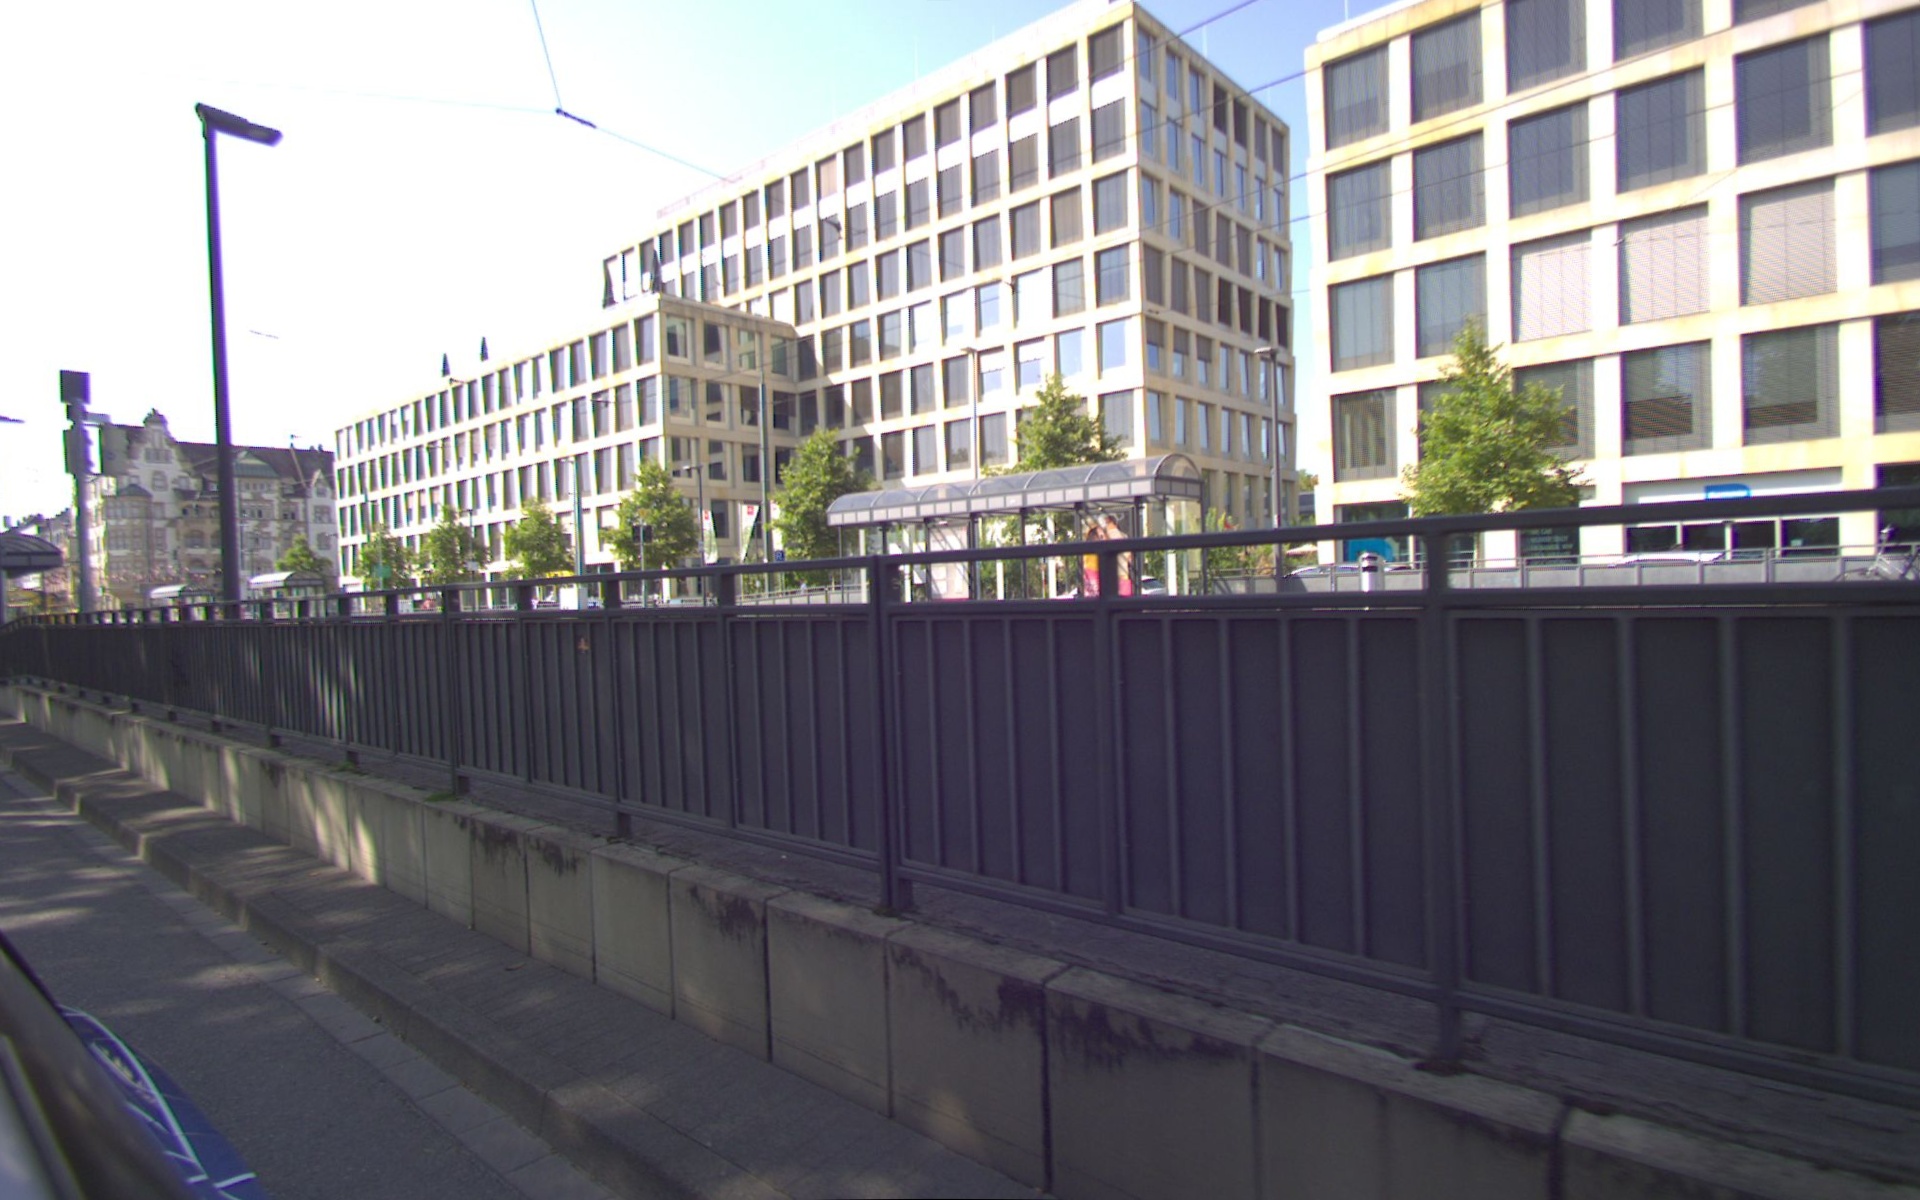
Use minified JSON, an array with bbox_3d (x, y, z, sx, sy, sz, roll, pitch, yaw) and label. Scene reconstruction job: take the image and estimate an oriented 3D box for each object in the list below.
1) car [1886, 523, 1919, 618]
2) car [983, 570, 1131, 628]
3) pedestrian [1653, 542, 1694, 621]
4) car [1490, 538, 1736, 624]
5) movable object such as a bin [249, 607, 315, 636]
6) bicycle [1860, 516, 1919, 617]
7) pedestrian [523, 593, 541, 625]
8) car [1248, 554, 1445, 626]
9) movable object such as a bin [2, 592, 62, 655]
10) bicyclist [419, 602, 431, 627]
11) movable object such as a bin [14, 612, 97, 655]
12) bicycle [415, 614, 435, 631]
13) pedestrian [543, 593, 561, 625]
[{"bbox_3d":[18.300,-0.570,16.831,4.128,1.615,1.746,-2,-1,40],"label":"car"},{"bbox_3d":[2.843,-0.005,30.200,4.128,1.586,1.746,-2,-1,40],"label":"car"},{"bbox_3d":[18.575,-0.469,26.341,0.822,2.029,0.557,-1,-2,41],"label":"pedestrian"},{"bbox_3d":[13.577,-0.338,21.171,4.128,1.586,1.746,-2,-1,40],"label":"car"},{"bbox_3d":[-73.477,2.337,109.694,2.490,2.810,5.445,-1,2,41],"label":"movable object such as a bin"},{"bbox_3d":[11.354,-0.396,11.579,0.465,1.156,1.487,-3,1,-34],"label":"bicycle"},{"bbox_3d":[-27.541,0.579,65.101,0.822,2.029,0.758,-2,1,45],"label":"pedestrian"},{"bbox_3d":[9.375,-0.203,24.728,4.128,1.586,1.746,-2,-1,40],"label":"car"},{"bbox_3d":[-70.992,1.840,77.395,4.212,4.588,2.955,-3,0,43],"label":"movable object such as a bin"},{"bbox_3d":[-28.819,0.779,54.555,0.447,1.371,0.383,-2,0,41],"label":"bicyclist"},{"bbox_3d":[-75.703,2.788,84.713,3.548,3.247,4.090,-3,0,25],"label":"movable object such as a bin"},{"bbox_3d":[-28.862,1.214,54.609,1.576,0.886,0.384,-2,0,41],"label":"bicycle"},{"bbox_3d":[-26.835,0.588,66.562,0.822,2.029,0.758,-2,1,44],"label":"pedestrian"}]
